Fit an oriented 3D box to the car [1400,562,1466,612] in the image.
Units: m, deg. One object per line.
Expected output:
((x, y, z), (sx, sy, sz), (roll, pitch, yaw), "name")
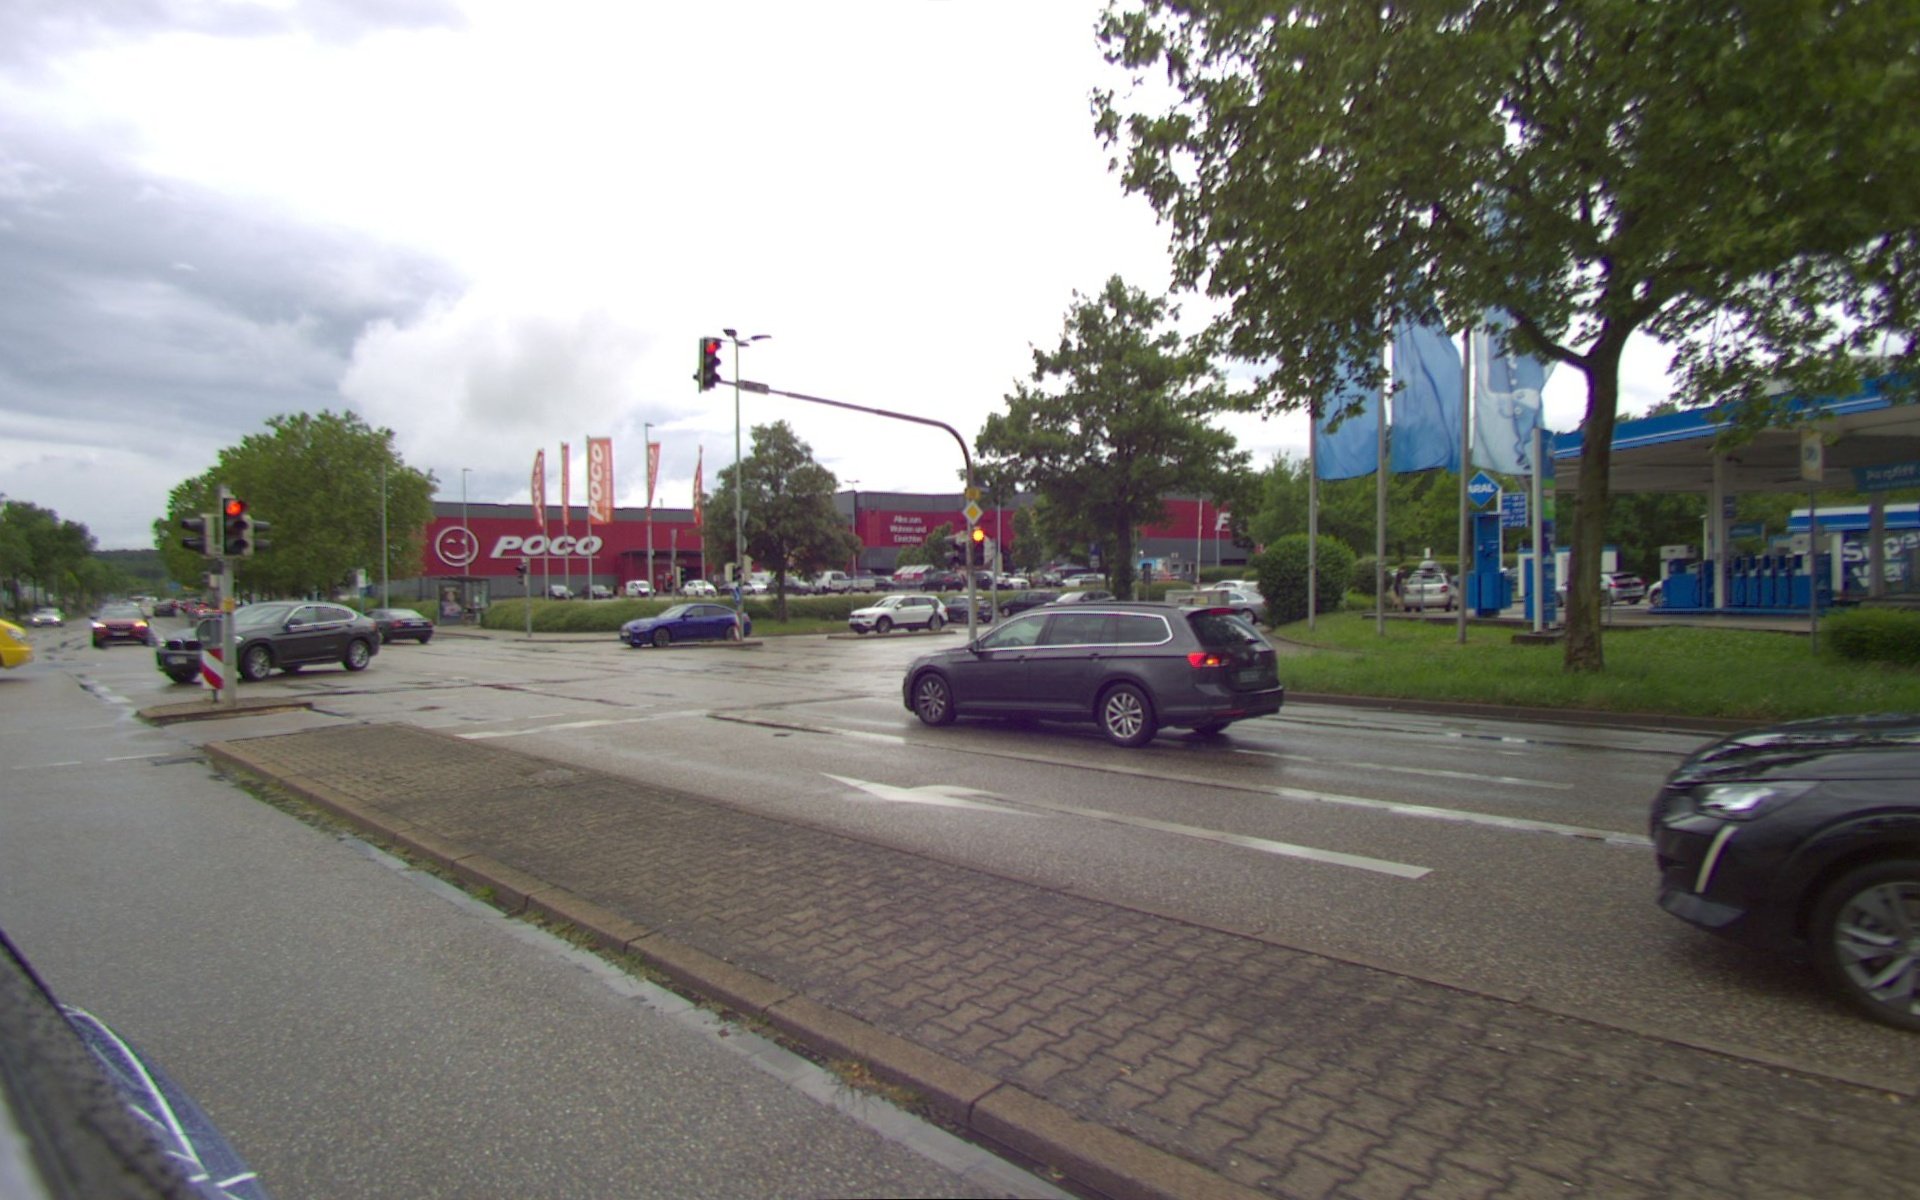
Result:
((18.223, -0.468, 38.915), (1.809, 1.811, 3.659), (0, 0, 33), "car")

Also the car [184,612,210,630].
((-74.602, 2.074, 98.941), (1.814, 1.601, 4.007), (1, -3, -39), "car")

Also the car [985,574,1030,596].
((3.920, -1.229, 83.923), (1.646, 1.658, 3.834), (0, -1, -38), "car")

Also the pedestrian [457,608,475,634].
((-27.623, 1.166, 56.563), (0.769, 1.442, 0.642), (1, -2, -43), "pedestrian")

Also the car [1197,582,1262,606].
((19.342, -0.414, 72.716), (1.659, 1.621, 4.290), (0, -1, -43), "car")

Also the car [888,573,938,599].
((-4.599, -1.311, 98.354), (1.797, 2.321, 5.658), (0, -1, -38), "car")

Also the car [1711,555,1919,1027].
((4.687, 0.592, 2.987), (3.890, 1.520, 1.627), (-1, -1, 39), "car")

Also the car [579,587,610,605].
((-35.733, -0.402, 98.775), (1.670, 1.658, 3.970), (0, -1, -38), "car")

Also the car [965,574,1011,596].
((2.234, -1.221, 81.766), (1.646, 1.658, 3.834), (0, -1, -38), "car")

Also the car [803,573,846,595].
((-10.597, -1.227, 79.037), (1.606, 1.658, 3.834), (0, -1, -38), "car")

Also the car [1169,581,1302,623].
((11.180, 0.114, 41.308), (4.902, 1.560, 1.971), (-2, -1, 43), "car")

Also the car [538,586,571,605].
((-36.763, -0.399, 91.682), (1.670, 1.658, 3.970), (0, -1, -38), "car")

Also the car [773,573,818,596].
((-12.494, -1.142, 76.754), (1.646, 1.658, 3.834), (0, -1, -38), "car")

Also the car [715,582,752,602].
((-20.439, -0.699, 91.175), (1.646, 1.658, 3.970), (0, -1, -38), "car")

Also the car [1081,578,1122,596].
((13.714, -1.277, 98.271), (1.646, 1.658, 3.834), (0, -1, -38), "car")

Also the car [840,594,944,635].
((-2.826, 0.608, 42.462), (3.935, 1.565, 1.906), (-2, 0, -37), "car")

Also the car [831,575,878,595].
((-7.964, -1.075, 75.931), (1.646, 1.391, 3.917), (0, -1, -38), "car")

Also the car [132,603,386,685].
((-14.856, 0.867, 21.826), (1.880, 1.565, 4.579), (-1, 0, 9), "car")

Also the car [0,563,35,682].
((-22.217, 0.530, 20.481), (2.246, 2.492, 4.946), (-2, 0, 41), "car")

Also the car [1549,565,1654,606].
((29.702, -0.636, 46.993), (1.765, 1.741, 4.010), (-1, -1, -13), "car")

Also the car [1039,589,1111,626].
((5.691, 0.332, 49.729), (3.485, 1.709, 1.604), (-2, 1, -42), "car")

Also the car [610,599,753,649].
((-9.590, 0.794, 35.129), (4.484, 1.645, 1.803), (0, -1, -45), "car")

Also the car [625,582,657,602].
((-32.291, -0.791, 102.477), (1.763, 1.940, 3.756), (0, -1, -40), "car")

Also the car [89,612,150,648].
((-35.284, 1.254, 42.460), (1.693, 1.475, 4.004), (2, -3, -43), "car")

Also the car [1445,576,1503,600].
((37.290, -0.841, 73.480), (1.592, 1.667, 3.473), (0, 0, -45), "car")

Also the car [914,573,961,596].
((-1.752, -1.200, 78.868), (1.646, 1.658, 3.834), (0, -1, -38), "car")

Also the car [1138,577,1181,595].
((18.822, -1.306, 95.810), (1.646, 1.658, 3.834), (0, -1, -38), "car")

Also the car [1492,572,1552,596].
((42.740, -1.209, 76.976), (1.672, 1.763, 3.713), (0, 0, -45), "car")

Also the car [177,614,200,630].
((-81.471, 2.321, 106.852), (1.814, 1.601, 4.007), (0, -1, -39), "car")

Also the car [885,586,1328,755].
((1.458, 0.672, 11.513), (4.731, 1.520, 1.971), (-1, -1, 44), "car")

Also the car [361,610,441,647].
((-22.802, 1.154, 41.239), (4.001, 1.415, 1.763), (-1, -1, 44), "car")

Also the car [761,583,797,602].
((-16.853, -0.717, 94.036), (1.646, 1.658, 3.970), (0, -1, -38), "car")

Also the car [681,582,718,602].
((-23.224, -0.684, 90.142), (1.646, 1.658, 3.970), (0, -1, -38), "car")

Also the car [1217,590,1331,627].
((14.163, 0.408, 45.797), (4.588, 1.601, 1.902), (-1, -1, 43), "car")

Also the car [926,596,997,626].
((0.058, 0.601, 54.744), (3.661, 1.565, 1.661), (-1, -1, 44), "car")

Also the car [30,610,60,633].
((-71.628, 1.661, 79.248), (1.596, 1.741, 3.684), (0, -1, -40), "car")

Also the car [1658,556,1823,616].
((27.046, -0.456, 35.258), (1.913, 1.821, 4.140), (-4, 1, -15), "car")

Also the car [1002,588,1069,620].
((4.333, 0.240, 58.302), (3.661, 1.737, 1.661), (-1, -1, 44), "car")
